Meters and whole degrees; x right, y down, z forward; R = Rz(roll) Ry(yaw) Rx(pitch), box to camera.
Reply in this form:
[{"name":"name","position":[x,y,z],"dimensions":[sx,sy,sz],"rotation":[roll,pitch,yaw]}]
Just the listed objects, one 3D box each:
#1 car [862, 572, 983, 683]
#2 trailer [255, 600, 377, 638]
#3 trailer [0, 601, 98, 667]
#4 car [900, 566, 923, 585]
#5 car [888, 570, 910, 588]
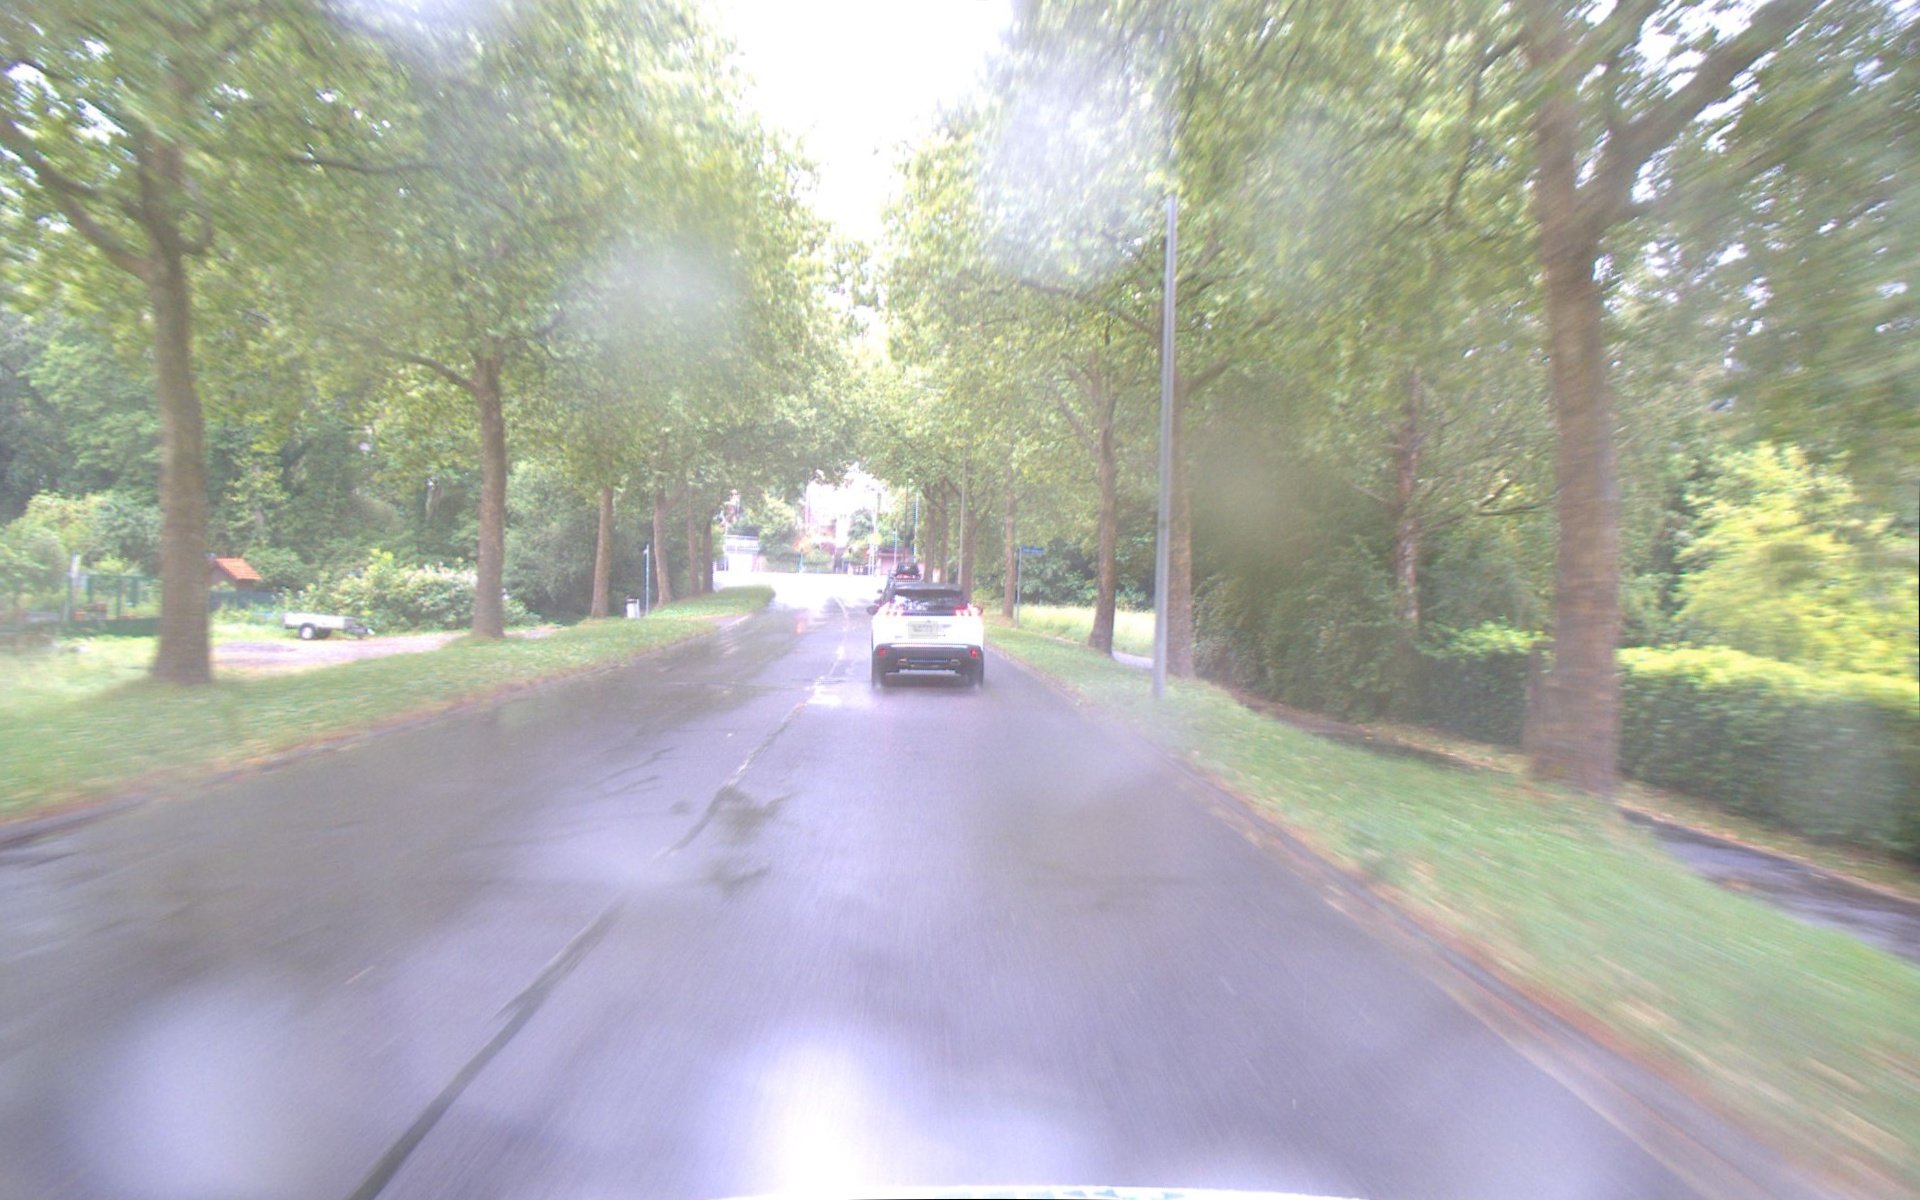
[{"name":"car","position":[-0.584,0.375,26.628],"dimensions":[1.757,1.606,3.844],"rotation":[2,1,-1]},{"name":"trailer","position":[-21.636,0.642,55.694],"dimensions":[3.487,1.199,1.819],"rotation":[1,1,-9]},{"name":"trailer","position":[-21.915,0.737,37.080],"dimensions":[4.154,1.400,1.996],"rotation":[1,1,-9]},{"name":"car","position":[-4.297,-2.188,146.782],"dimensions":[1.789,1.624,3.654],"rotation":[2,0,1]},{"name":"car","position":[-5.764,-1.974,156.327],"dimensions":[1.789,1.624,3.654],"rotation":[2,0,1]}]
